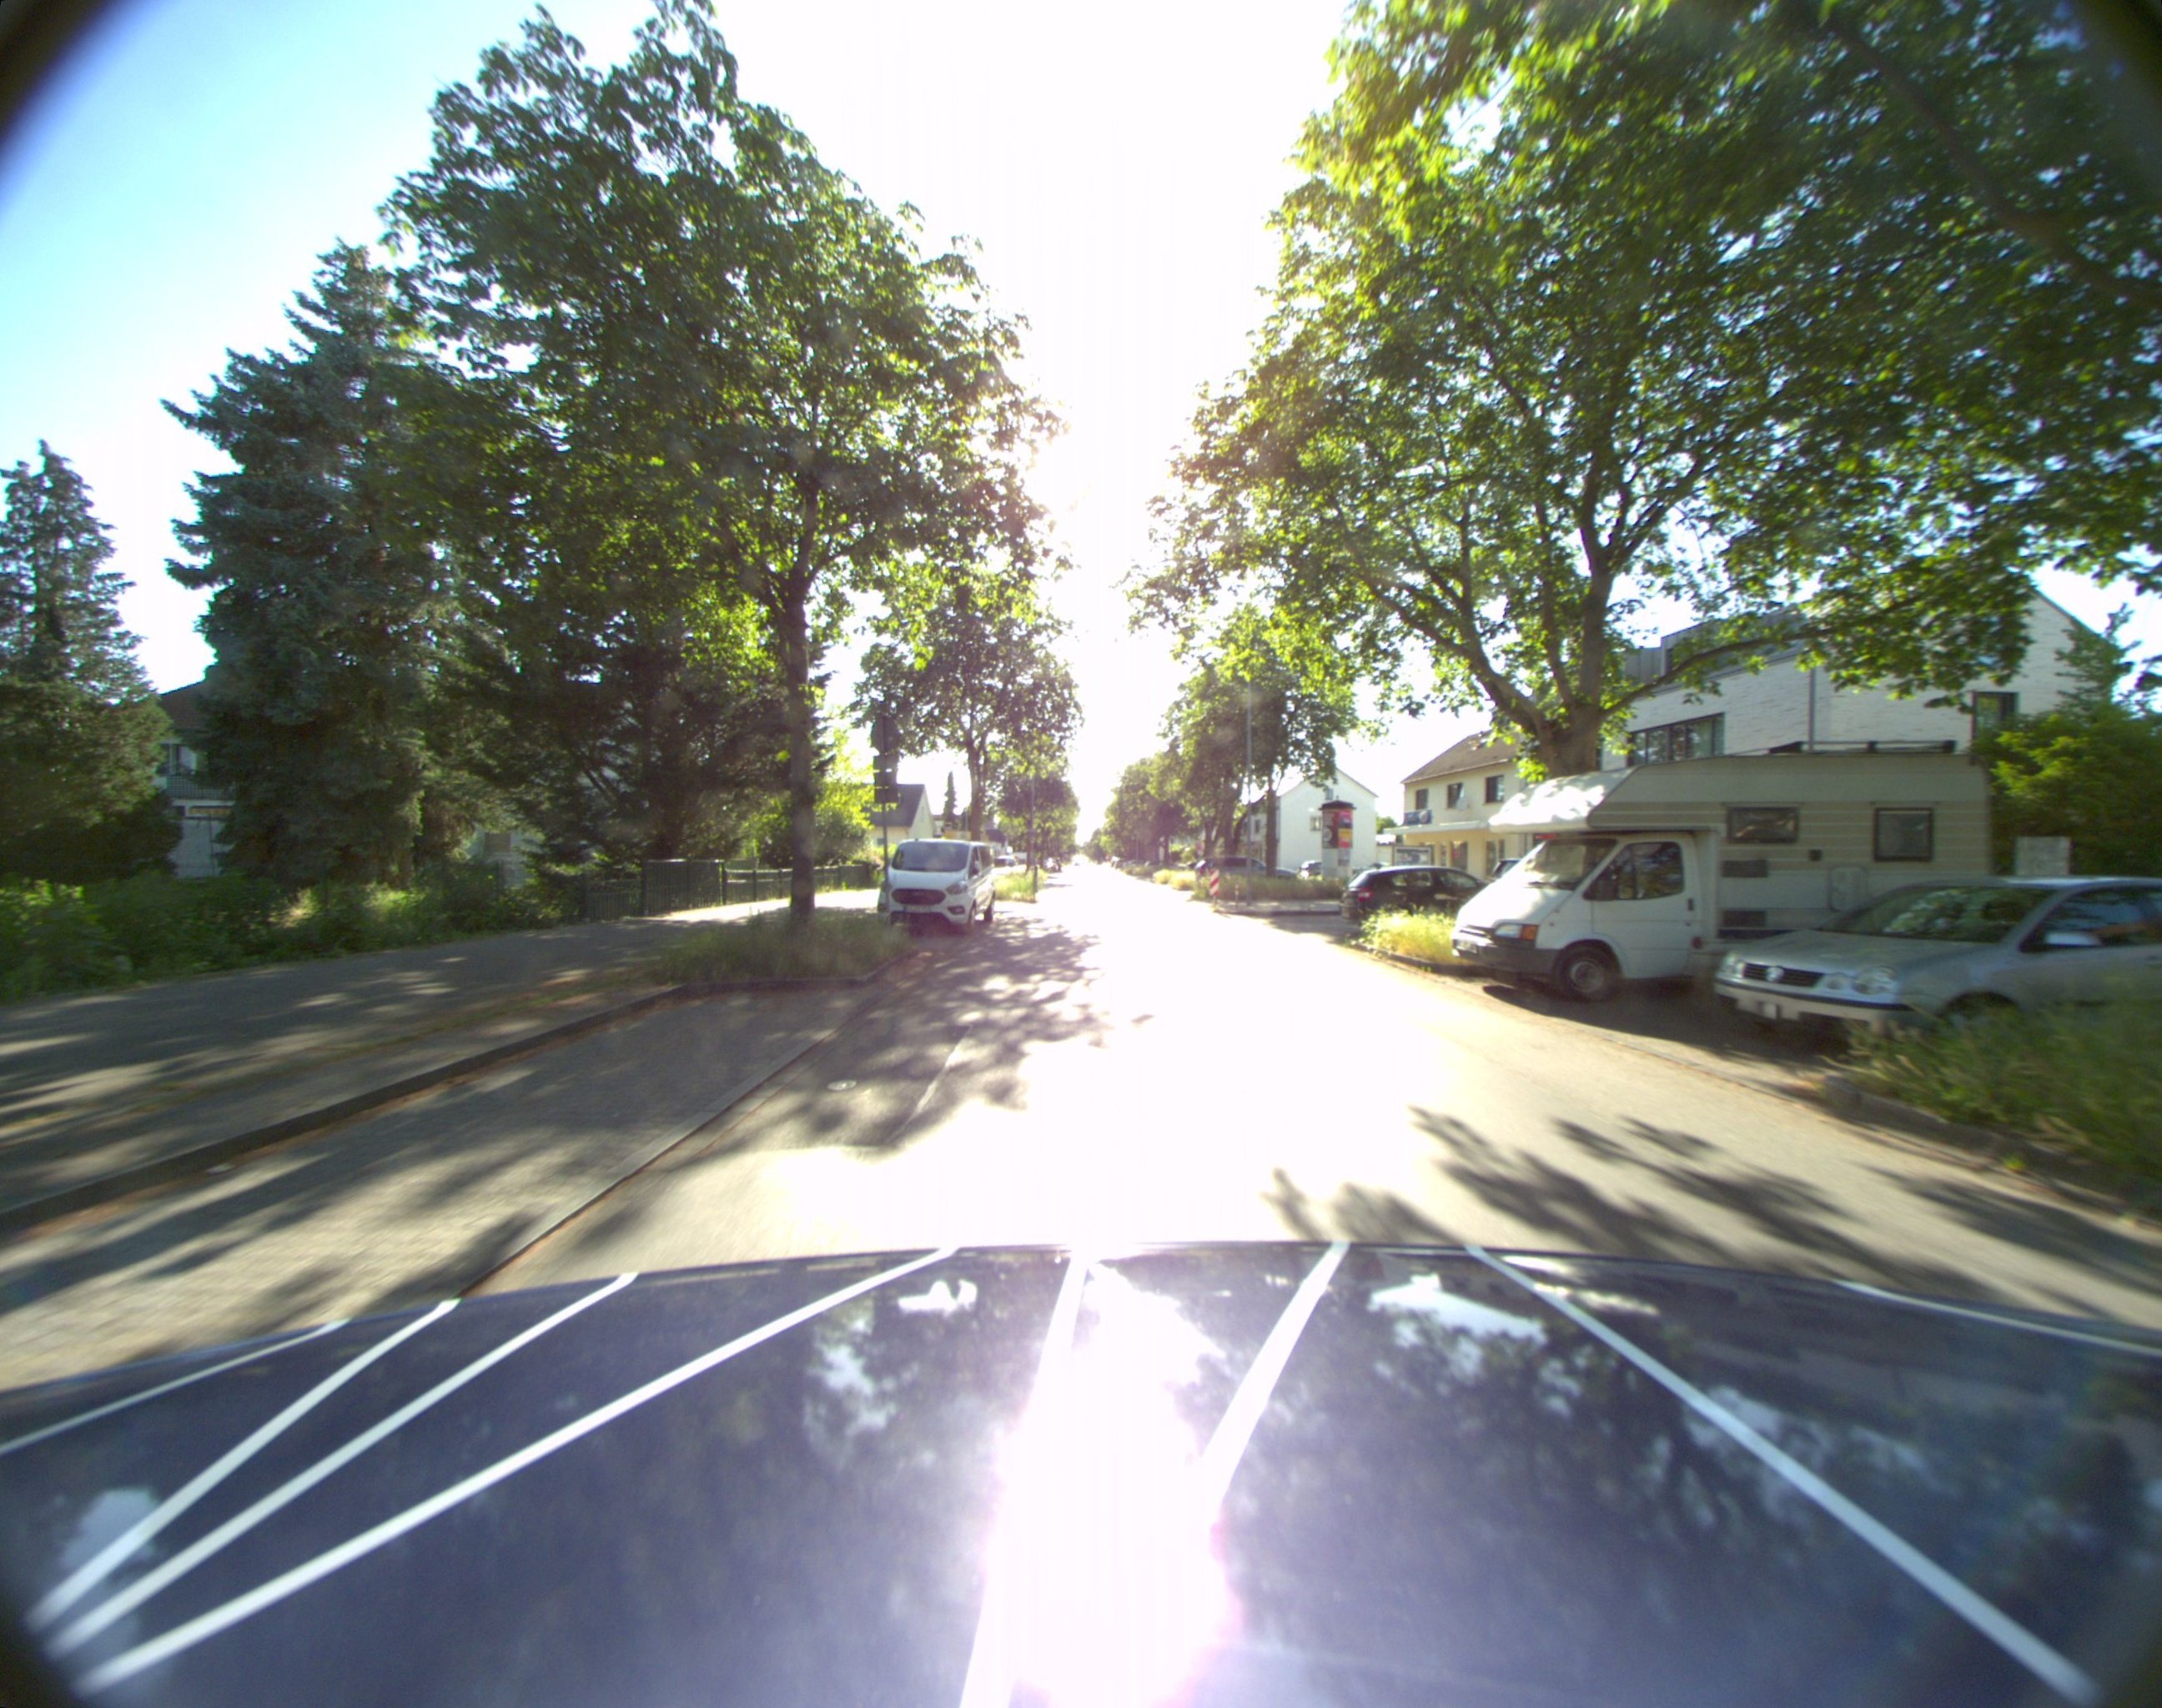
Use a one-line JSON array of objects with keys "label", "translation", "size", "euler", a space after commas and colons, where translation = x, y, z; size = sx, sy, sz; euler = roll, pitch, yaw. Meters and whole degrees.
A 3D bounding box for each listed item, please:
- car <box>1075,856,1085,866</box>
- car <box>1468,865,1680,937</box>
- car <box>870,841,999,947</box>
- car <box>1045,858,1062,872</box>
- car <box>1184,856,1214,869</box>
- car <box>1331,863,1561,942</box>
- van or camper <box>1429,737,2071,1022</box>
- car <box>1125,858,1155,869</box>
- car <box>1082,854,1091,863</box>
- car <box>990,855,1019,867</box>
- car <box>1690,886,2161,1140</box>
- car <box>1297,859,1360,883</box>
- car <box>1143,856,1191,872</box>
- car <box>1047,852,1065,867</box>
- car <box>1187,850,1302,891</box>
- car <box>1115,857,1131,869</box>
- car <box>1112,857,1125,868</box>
[{"label": "car", "translation": [-0.163, 1.169, 125.055], "size": [1.539, 1.582, 3.458], "euler": [-3, 1, 2]}, {"label": "car", "translation": [11.854, 1.086, 18.423], "size": [3.999, 1.533, 1.869], "euler": [-1, 1, -5]}, {"label": "car", "translation": [-3.157, 0.768, 17.572], "size": [1.999, 2.002, 5.195], "euler": [-3, 1, -1]}, {"label": "car", "translation": [-3.070, 1.163, 84.627], "size": [1.690, 1.414, 3.777], "euler": [2, 1, 1]}, {"label": "car", "translation": [15.844, 1.110, 101.853], "size": [3.773, 1.556, 1.691], "euler": [2, 1, 3]}, {"label": "car", "translation": [7.526, 0.978, 15.948], "size": [3.996, 1.441, 1.640], "euler": [-2, 1, 3]}, {"label": "van or camper", "translation": [7.581, 0.290, 9.122], "size": [5.789, 2.789, 2.000], "euler": [-3, 1, 2]}, {"label": "car", "translation": [7.876, 1.299, 101.890], "size": [3.695, 1.315, 1.624], "euler": [-1, 1, -6]}, {"label": "car", "translation": [1.095, 0.934, 145.737], "size": [1.539, 1.582, 3.458], "euler": [-3, 1, 2]}, {"label": "car", "translation": [-9.979, 0.934, 99.283], "size": [3.622, 1.431, 1.695], "euler": [-3, 1, -3]}, {"label": "car", "translation": [7.816, 1.137, 6.258], "size": [3.997, 1.450, 1.999], "euler": [-3, 1, -2]}, {"label": "car", "translation": [18.764, 1.274, 57.726], "size": [3.999, 1.628, 1.999], "euler": [2, 0, -6]}, {"label": "car", "translation": [8.425, 0.995, 74.621], "size": [4.393, 1.408, 2.000], "euler": [-1, 1, -1]}, {"label": "car", "translation": [-2.960, 0.652, 90.797], "size": [1.941, 1.684, 4.363], "euler": [0, 0, 2]}, {"label": "car", "translation": [7.866, 0.768, 36.848], "size": [5.075, 1.718, 1.999], "euler": [-3, 1, -4]}, {"label": "car", "translation": [5.881, 1.187, 106.565], "size": [1.998, 1.530, 3.695], "euler": [-3, 1, 2]}, {"label": "car", "translation": [5.817, 1.262, 118.071], "size": [1.815, 1.722, 4.056], "euler": [1, 0, 2]}]
